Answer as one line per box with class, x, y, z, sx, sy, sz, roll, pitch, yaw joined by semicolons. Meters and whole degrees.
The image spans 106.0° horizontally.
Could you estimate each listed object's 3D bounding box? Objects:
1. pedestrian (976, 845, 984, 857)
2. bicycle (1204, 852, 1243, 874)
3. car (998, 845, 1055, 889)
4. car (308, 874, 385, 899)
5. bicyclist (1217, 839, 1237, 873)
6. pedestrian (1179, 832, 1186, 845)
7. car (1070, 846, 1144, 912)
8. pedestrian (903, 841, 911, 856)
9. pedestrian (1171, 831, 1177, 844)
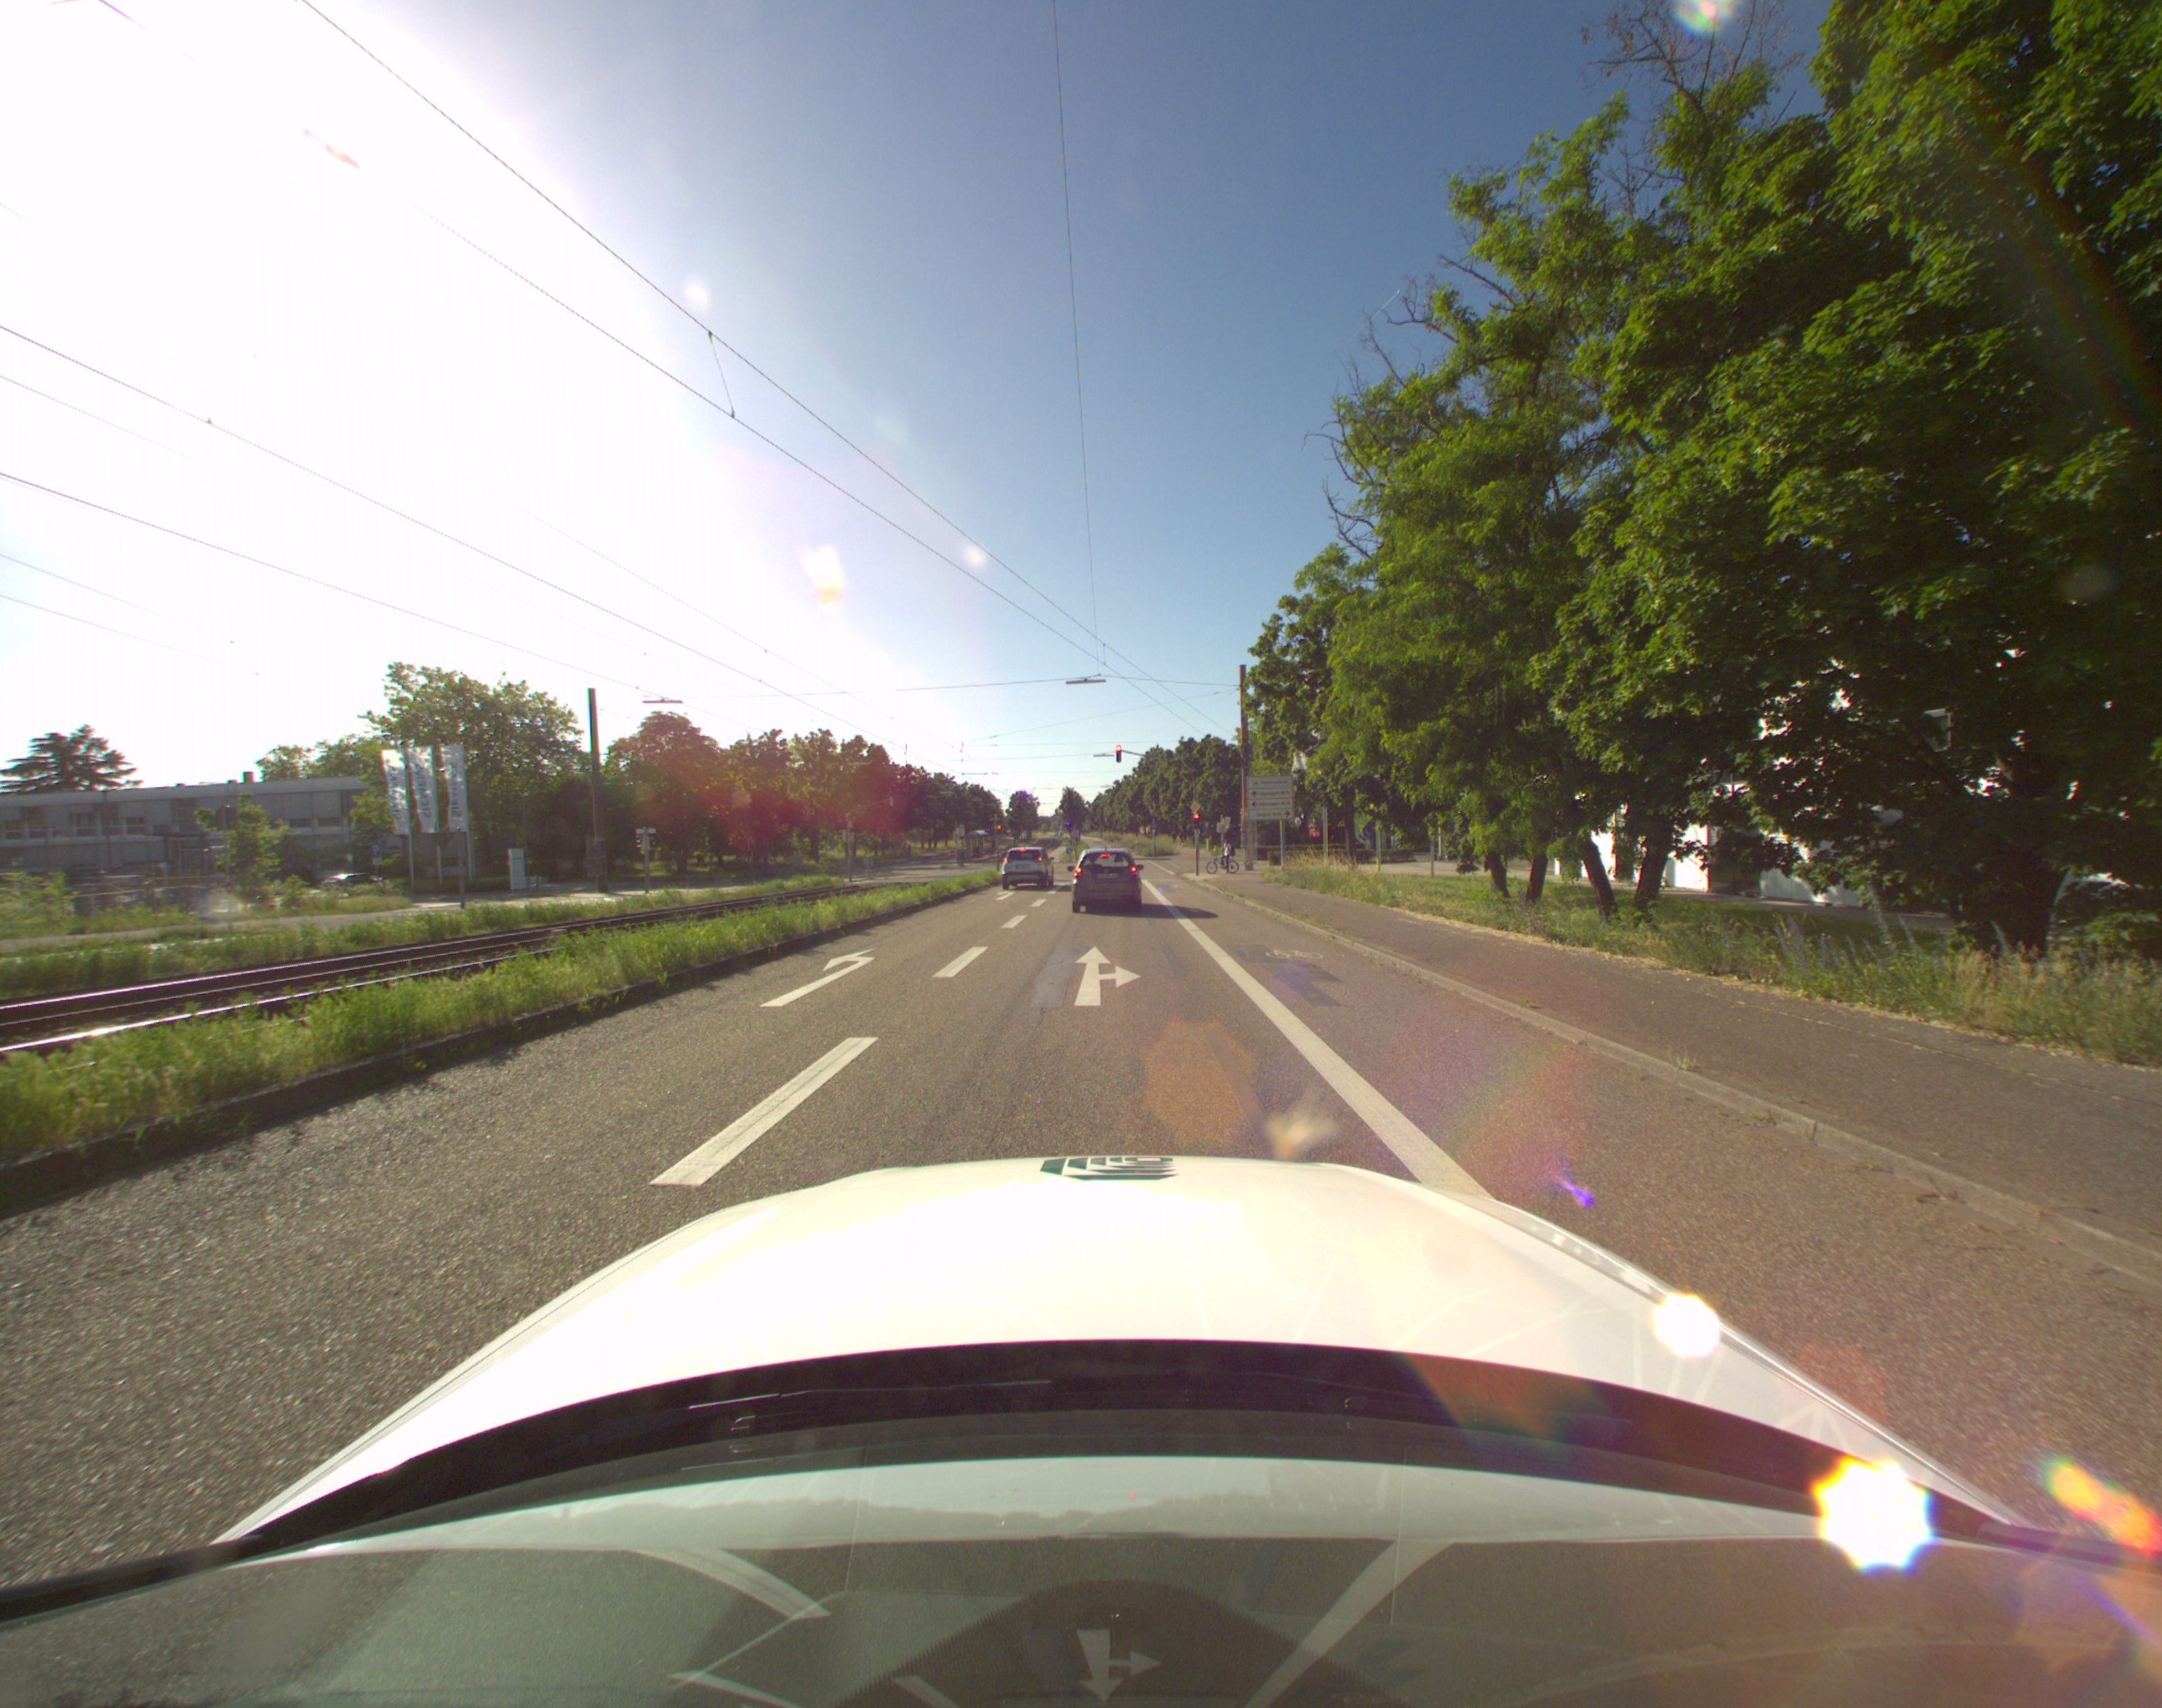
pedestrian;-11.029;-0.337;89.040;0.718;1.246;0.711;-2;1;0
bicycle;7.364;0.480;42.152;1.907;0.998;0.767;-4;0;12
car;-2.092;0.464;32.426;1.844;1.606;4.257;-1;0;2
car;-50.199;2.203;55.758;1.685;1.488;3.863;-1;1;1
bicyclist;7.552;0.101;42.107;0.904;1.745;0.767;-3;0;13
pedestrian;12.484;-1.868;100.130;0.676;1.610;0.720;0;0;0
car;0.708;0.566;20.790;1.700;1.508;4.003;-1;0;3
pedestrian;-22.819;-0.752;106.962;0.837;2.013;0.863;-1;0;0
pedestrian;11.439;-2.038;100.060;0.565;1.596;0.665;0;0;-2
